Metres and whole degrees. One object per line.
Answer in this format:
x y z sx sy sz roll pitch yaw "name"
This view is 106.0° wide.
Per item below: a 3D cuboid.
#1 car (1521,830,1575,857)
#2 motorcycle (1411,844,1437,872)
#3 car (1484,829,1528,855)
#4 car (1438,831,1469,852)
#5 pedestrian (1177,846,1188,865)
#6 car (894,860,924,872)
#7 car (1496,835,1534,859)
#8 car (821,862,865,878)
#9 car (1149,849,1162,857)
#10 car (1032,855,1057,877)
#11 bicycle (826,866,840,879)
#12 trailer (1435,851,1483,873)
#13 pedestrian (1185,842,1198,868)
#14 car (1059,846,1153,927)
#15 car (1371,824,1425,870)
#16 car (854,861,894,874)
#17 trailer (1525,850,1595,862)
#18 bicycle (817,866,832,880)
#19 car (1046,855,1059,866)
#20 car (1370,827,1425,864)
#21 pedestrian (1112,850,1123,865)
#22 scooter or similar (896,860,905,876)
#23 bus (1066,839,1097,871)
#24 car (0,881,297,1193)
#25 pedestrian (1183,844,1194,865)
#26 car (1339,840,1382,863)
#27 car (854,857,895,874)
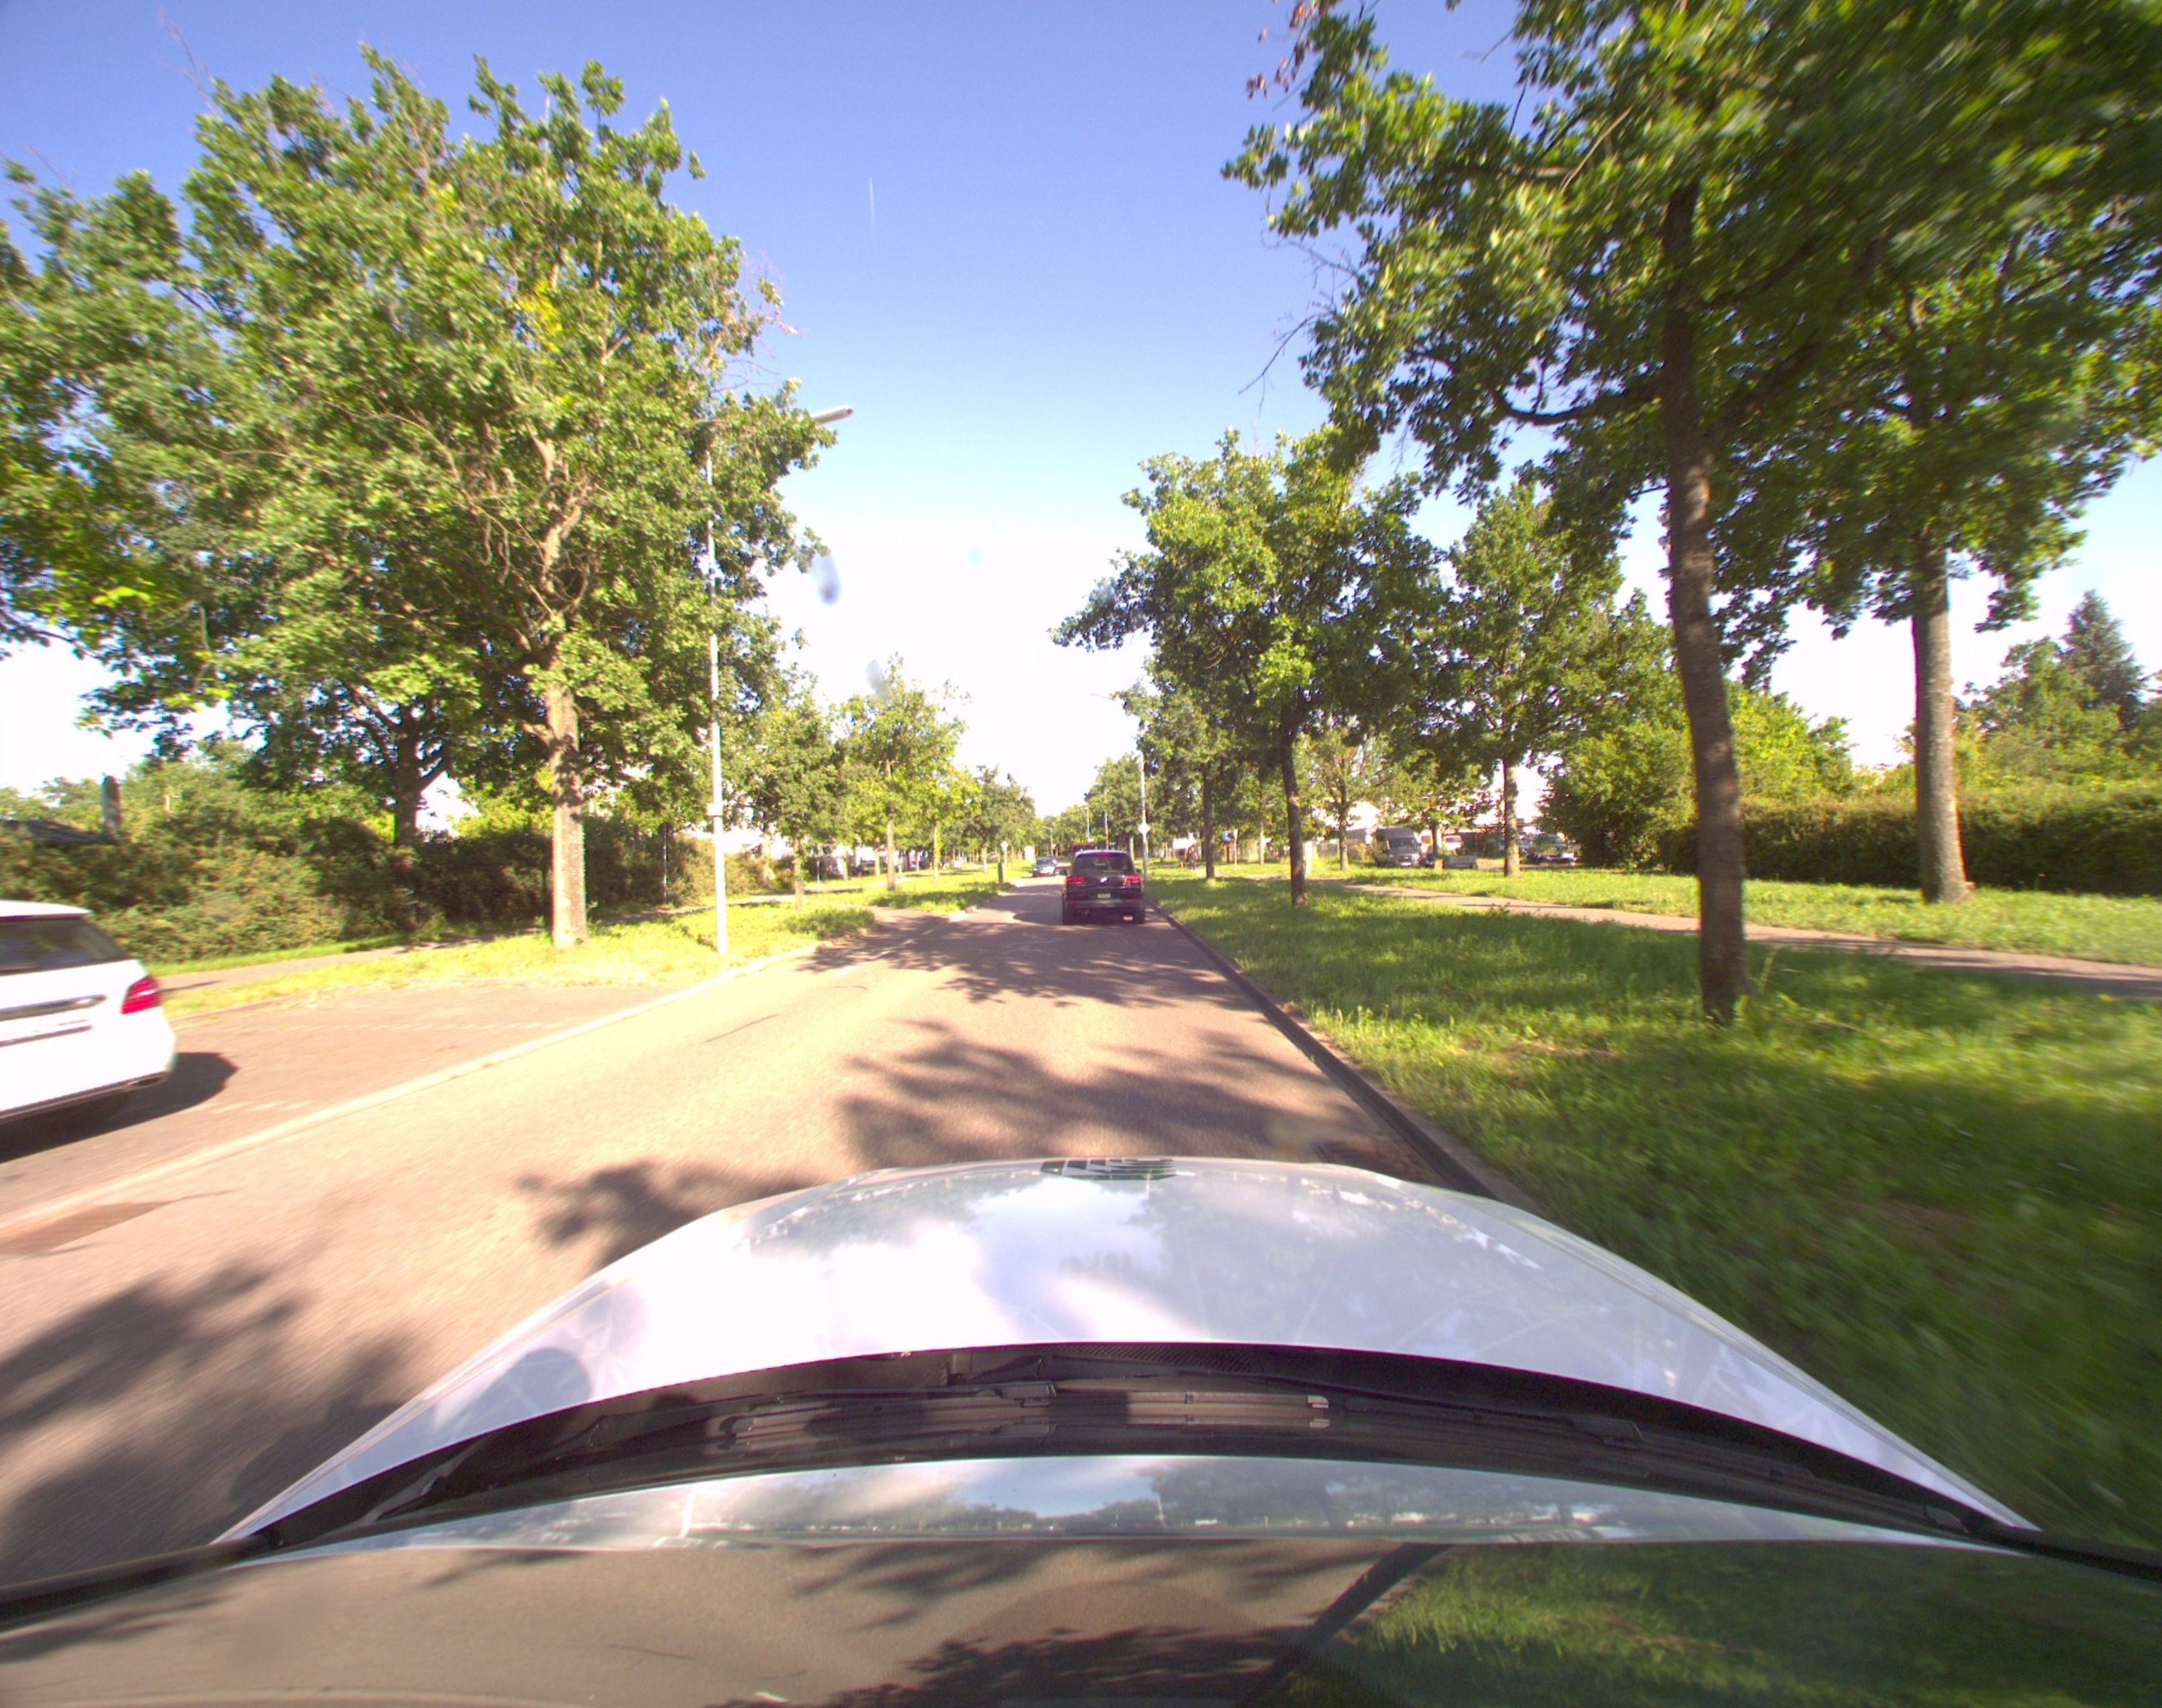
34.121 -0.767 59.585 1.983 1.823 4.008 -2 0 7 "car"
17.044 0.236 40.509 0.658 1.231 2.413 -2 -4 11 "motorcycle"
36.441 -1.053 69.960 2.071 2.061 5.030 -1 3 11 "car"
32.218 -1.064 70.476 1.821 1.640 4.018 -2 0 17 "car"
8.650 0.124 69.586 0.724 1.603 0.867 -2 0 -2 "pedestrian"
-25.473 1.708 120.594 3.716 1.618 1.971 -2 0 13 "car"
31.430 -0.522 59.112 1.819 1.640 4.020 -2 0 20 "car"
-25.000 1.662 85.557 4.013 1.511 1.784 -2 1 -31 "car"
17.263 -0.243 188.206 2.182 1.744 4.632 -2 0 -6 "car"
-2.763 0.899 62.556 1.760 1.528 4.493 -4 0 -1 "car"
-21.797 1.610 71.569 0.637 1.087 1.890 -2 0 -1 "bicycle"
17.870 0.398 38.578 1.568 0.868 2.060 -2 -4 11 "trailer"
7.861 0.087 58.155 0.724 1.812 0.867 -2 2 -1 "pedestrian"
0.487 0.662 19.185 1.930 1.656 4.425 -1 0 -1 "car"
19.687 -0.512 50.842 2.071 2.565 5.992 -1 3 11 "car"
-24.084 1.561 94.746 3.976 1.401 1.976 -2 0 -43 "car"
29.344 0.109 50.067 2.213 0.651 4.838 -2 0 11 "trailer"
-22.086 1.615 70.154 0.637 1.087 1.890 -2 0 -1 "bicycle"
-4.126 0.923 118.677 1.800 1.536 4.492 -4 0 -2 "car"
23.852 -0.617 61.542 2.154 2.643 4.849 -2 0 -1 "car"
4.046 0.351 89.995 1.016 1.651 1.099 -2 0 -2 "pedestrian"
-15.414 1.196 69.568 0.393 1.279 1.441 -2 0 0 "scooter or similar"
-0.028 0.095 98.137 2.759 3.456 11.194 -2 0 -4 "bus"
-7.964 1.012 4.684 4.615 1.558 2.189 -1 0 -3 "car"
9.335 0.045 70.480 0.723 1.755 0.867 -4 0 -1 "pedestrian"
21.271 -0.205 62.076 1.999 1.664 3.595 -2 0 -1 "car"
-27.682 1.497 109.285 4.886 2.013 1.976 -2 0 -43 "car"
